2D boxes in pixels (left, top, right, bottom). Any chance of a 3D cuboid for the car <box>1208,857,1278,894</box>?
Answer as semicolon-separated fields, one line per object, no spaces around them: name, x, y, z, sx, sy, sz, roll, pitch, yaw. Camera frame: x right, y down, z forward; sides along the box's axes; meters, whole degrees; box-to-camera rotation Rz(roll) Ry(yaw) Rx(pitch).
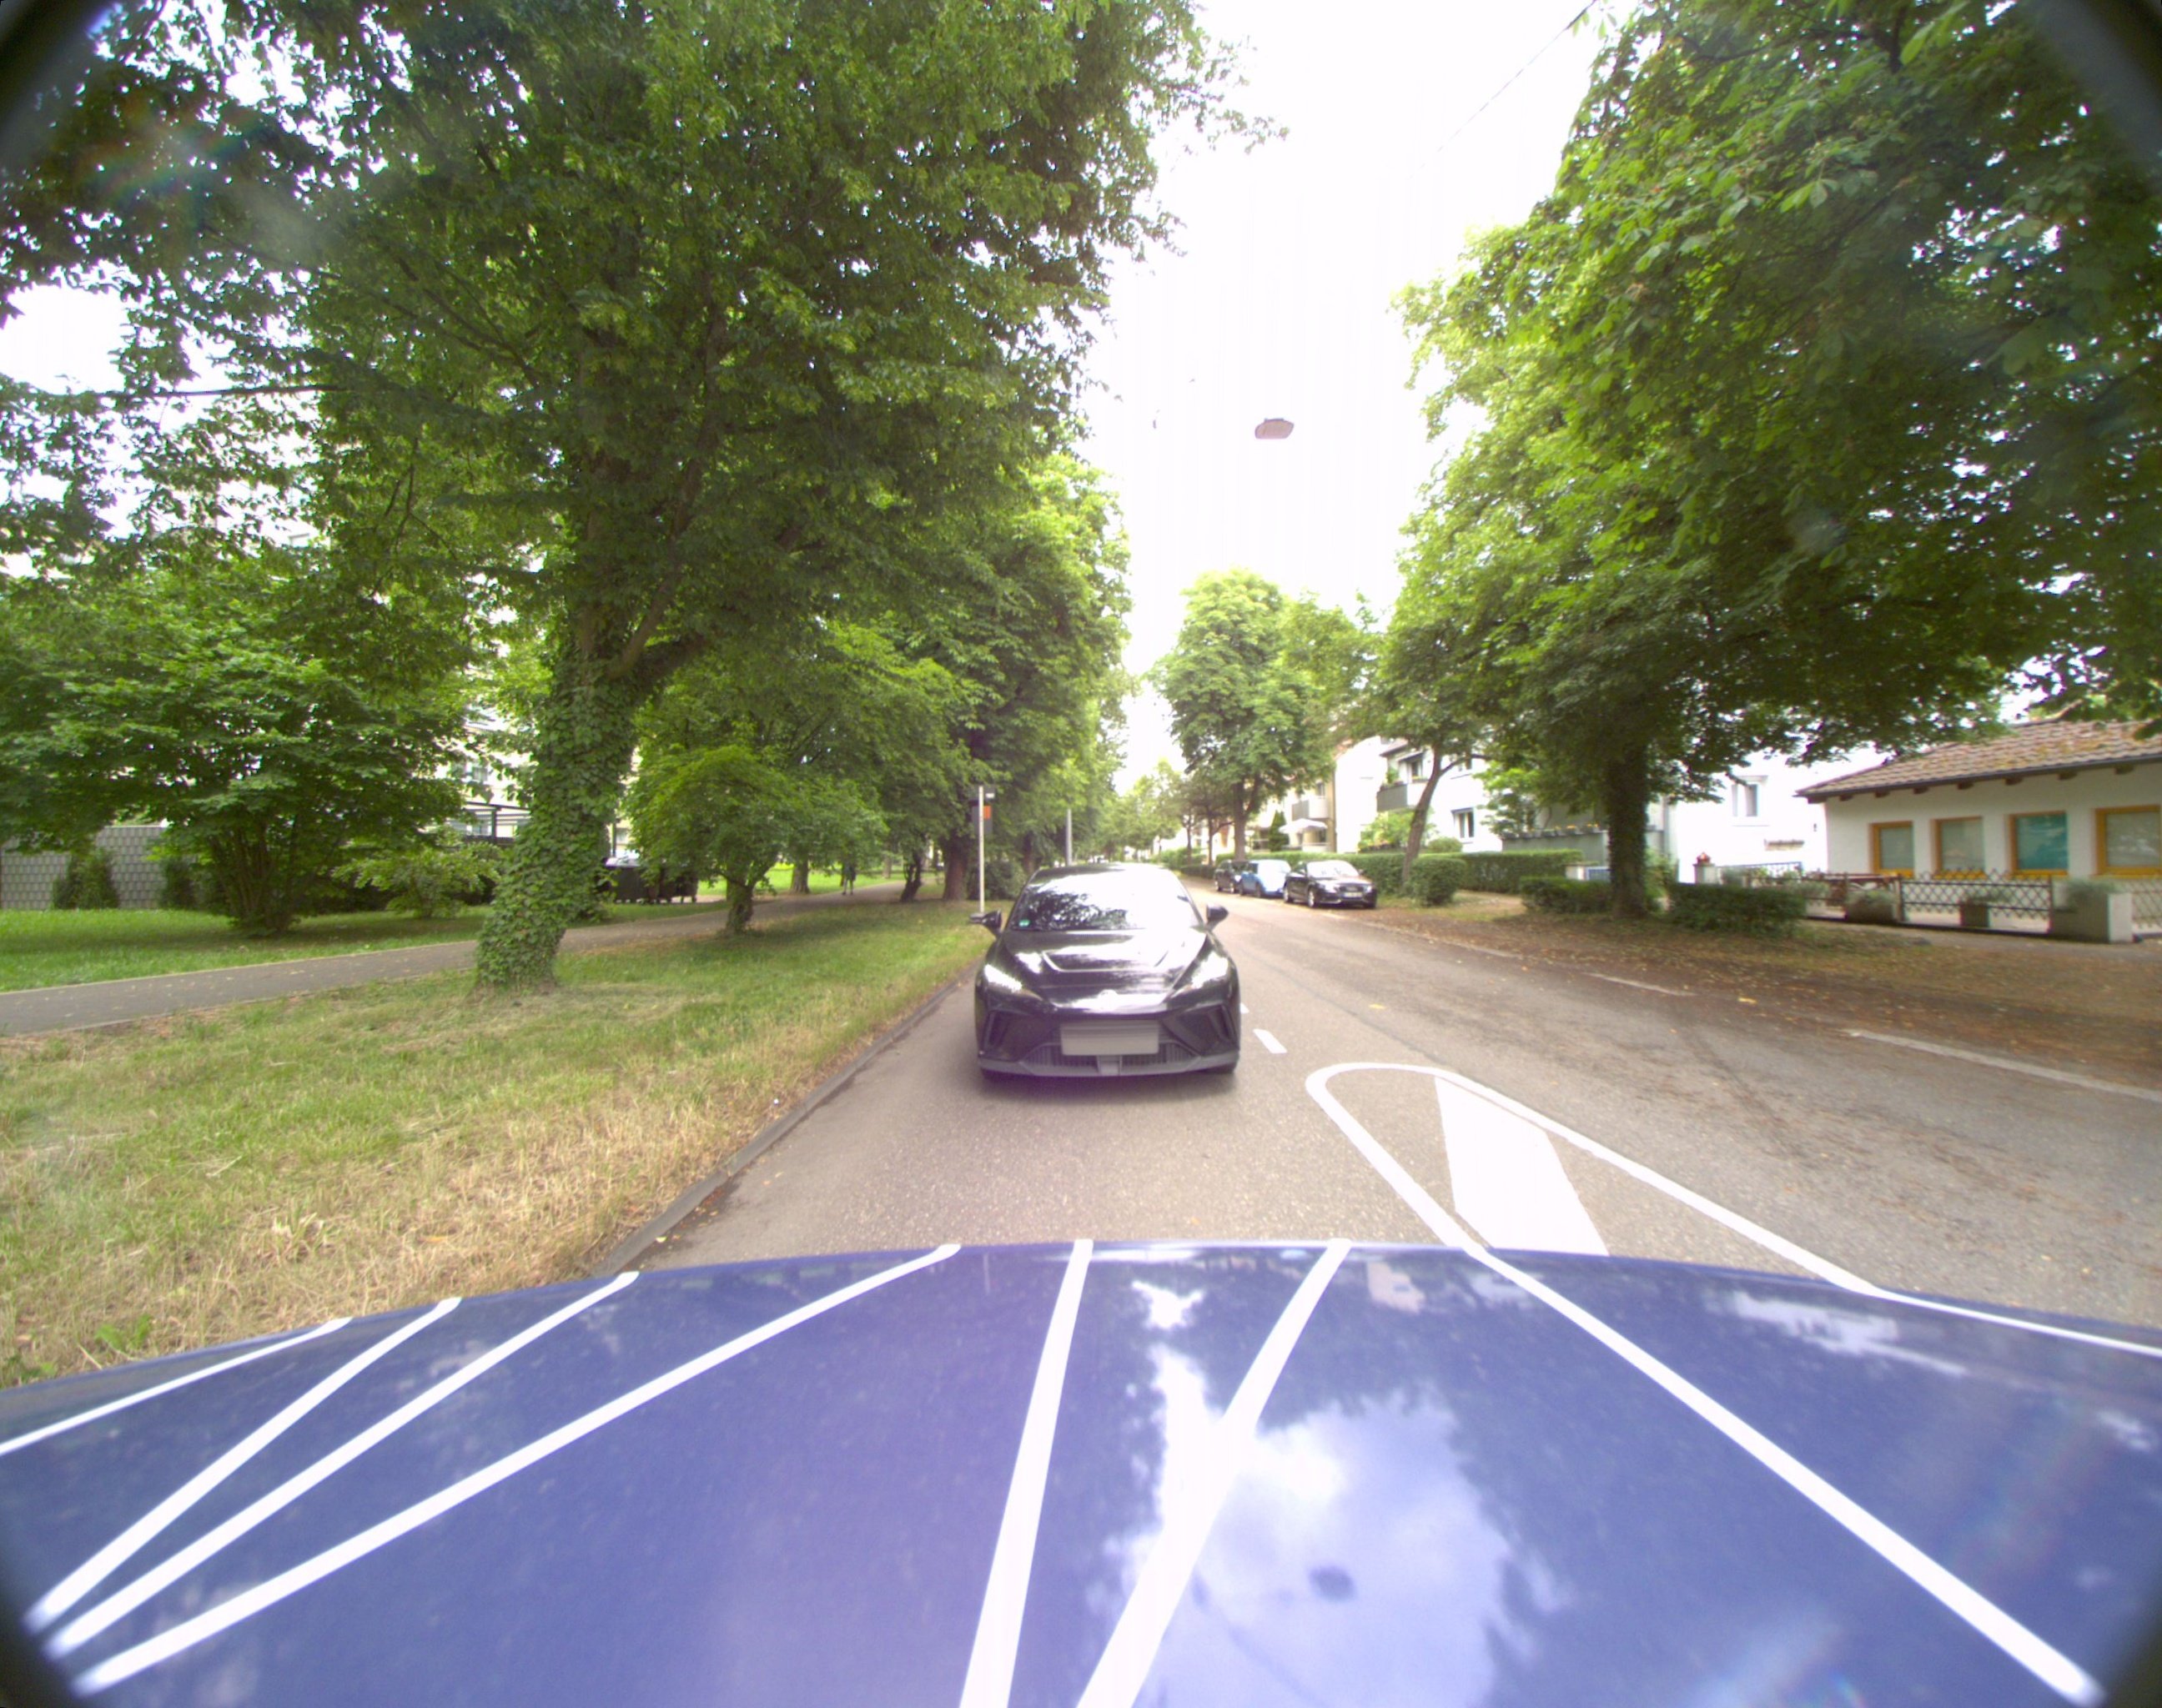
car;7.081;0.886;33.659;1.889;1.524;4.565;0;0;-3

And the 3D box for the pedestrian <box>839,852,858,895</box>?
pedestrian;-9.600;0.791;31.366;0.565;1.730;0.570;1;0;0

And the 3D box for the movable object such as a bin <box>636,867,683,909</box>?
movable object such as a bin;-13.235;1.049;23.884;1.026;1.296;0.960;0;0;-8

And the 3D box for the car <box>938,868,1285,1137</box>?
car;0.199;0.900;6.694;1.998;1.491;4.615;0;0;1

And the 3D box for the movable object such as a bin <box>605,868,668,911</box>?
movable object such as a bin;-13.251;1.030;22.686;1.194;1.213;1.348;0;0;-8

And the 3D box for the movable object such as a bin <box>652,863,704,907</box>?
movable object such as a bin;-13.238;0.989;24.978;1.194;1.405;1.110;0;0;-8

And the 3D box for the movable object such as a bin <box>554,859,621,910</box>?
movable object such as a bin;-14.567;0.874;22.493;1.194;1.448;1.348;0;0;-8

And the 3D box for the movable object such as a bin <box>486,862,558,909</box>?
movable object such as a bin;-16.509;0.898;22.491;1.194;1.334;1.348;0;0;-8

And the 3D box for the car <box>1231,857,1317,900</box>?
car;7.212;0.883;28.906;1.889;1.492;4.565;0;0;-3

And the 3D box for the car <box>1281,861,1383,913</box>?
car;7.411;0.918;22.884;1.735;1.394;4.172;0;0;1
